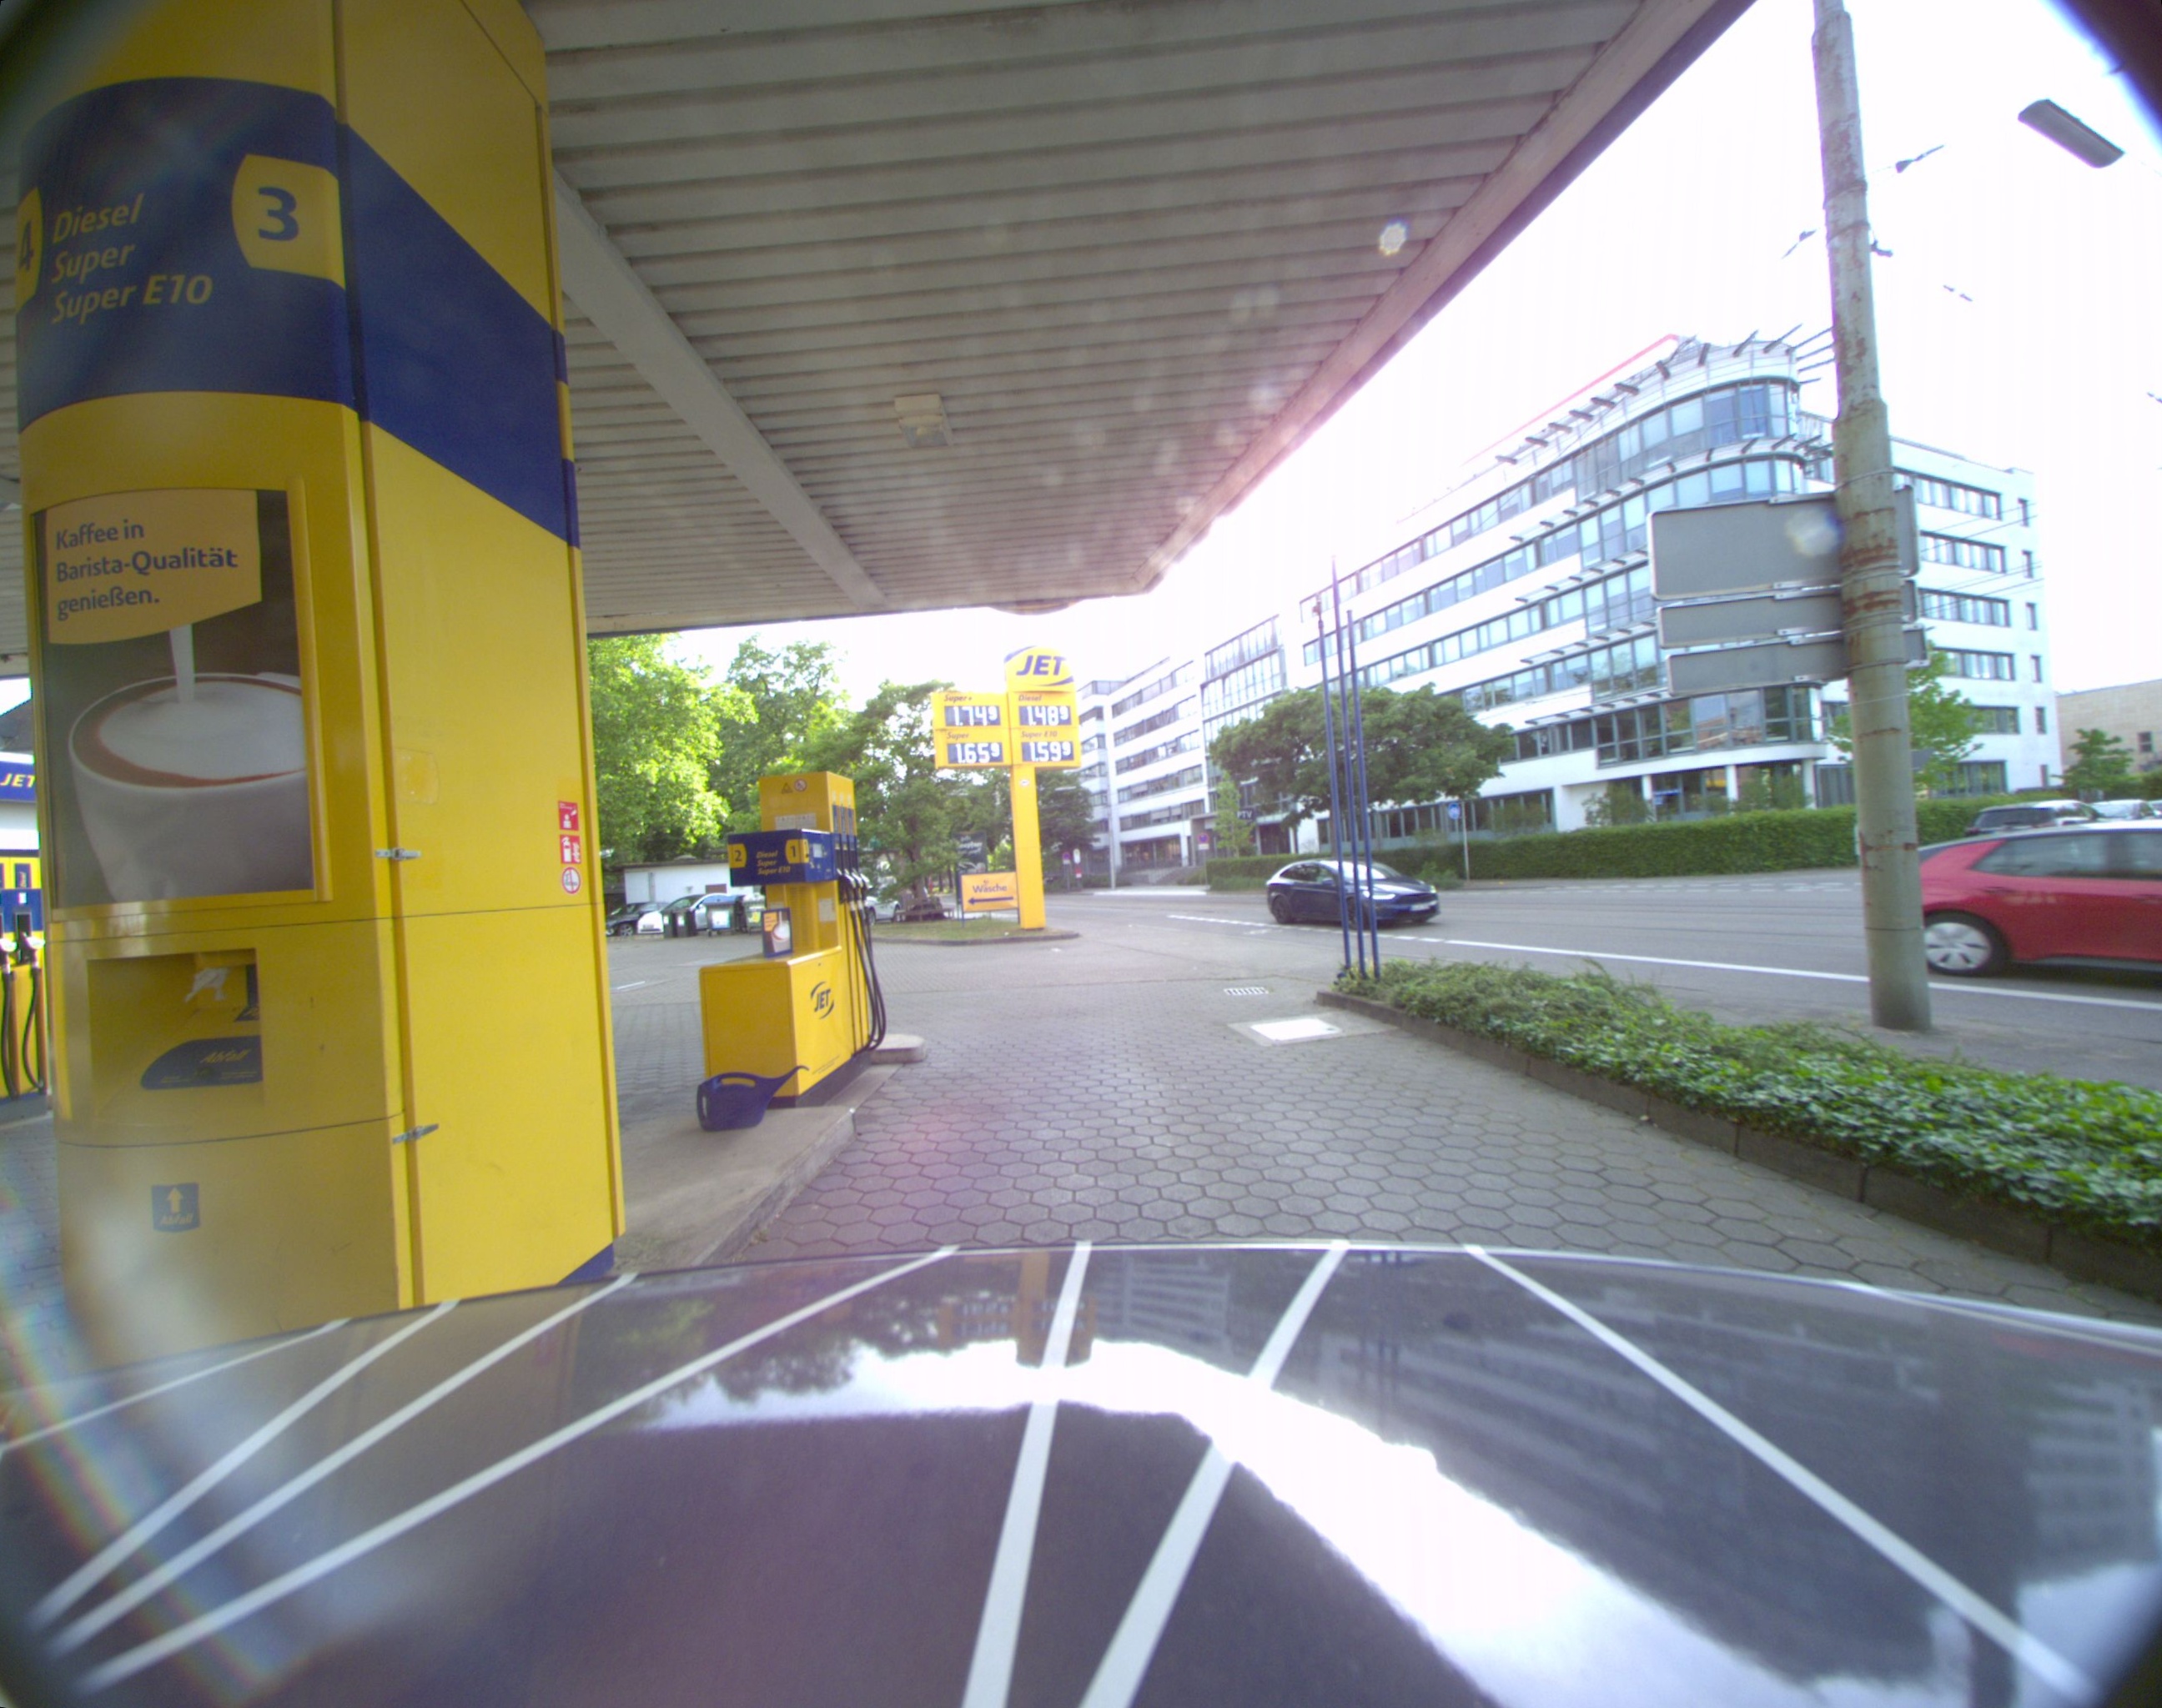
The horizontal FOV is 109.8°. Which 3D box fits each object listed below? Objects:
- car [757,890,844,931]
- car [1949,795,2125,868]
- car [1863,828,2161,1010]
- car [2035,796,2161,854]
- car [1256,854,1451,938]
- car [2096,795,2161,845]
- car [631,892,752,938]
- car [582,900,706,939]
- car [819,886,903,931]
[{"bbox_3d":[-11.798,2.329,32.236,1.739,1.500,4.004,-4,-2,6],"label":"car"},{"bbox_3d":[27.379,-0.648,21.763,4.438,1.603,1.976,-5,-1,-23],"label":"car"},{"bbox_3d":[10.424,0.550,6.948,1.771,1.534,4.126,-5,0,-18],"label":"car"},{"bbox_3d":[32.494,-0.941,24.034,4.109,1.544,1.786,-4,-1,-23],"label":"car"},{"bbox_3d":[6.492,0.987,18.810,1.771,1.647,4.844,-5,0,-19],"label":"car"},{"bbox_3d":[37.154,-1.237,26.072,4.109,1.544,1.786,-4,-1,-23],"label":"car"},{"bbox_3d":[-15.356,2.390,30.248,1.785,1.514,4.229,-4,-3,17],"label":"car"},{"bbox_3d":[-17.742,2.639,31.064,1.745,1.269,4.230,-5,-3,19],"label":"car"},{"bbox_3d":[-8.682,2.122,30.375,1.739,1.500,4.003,-4,-2,6],"label":"car"}]
